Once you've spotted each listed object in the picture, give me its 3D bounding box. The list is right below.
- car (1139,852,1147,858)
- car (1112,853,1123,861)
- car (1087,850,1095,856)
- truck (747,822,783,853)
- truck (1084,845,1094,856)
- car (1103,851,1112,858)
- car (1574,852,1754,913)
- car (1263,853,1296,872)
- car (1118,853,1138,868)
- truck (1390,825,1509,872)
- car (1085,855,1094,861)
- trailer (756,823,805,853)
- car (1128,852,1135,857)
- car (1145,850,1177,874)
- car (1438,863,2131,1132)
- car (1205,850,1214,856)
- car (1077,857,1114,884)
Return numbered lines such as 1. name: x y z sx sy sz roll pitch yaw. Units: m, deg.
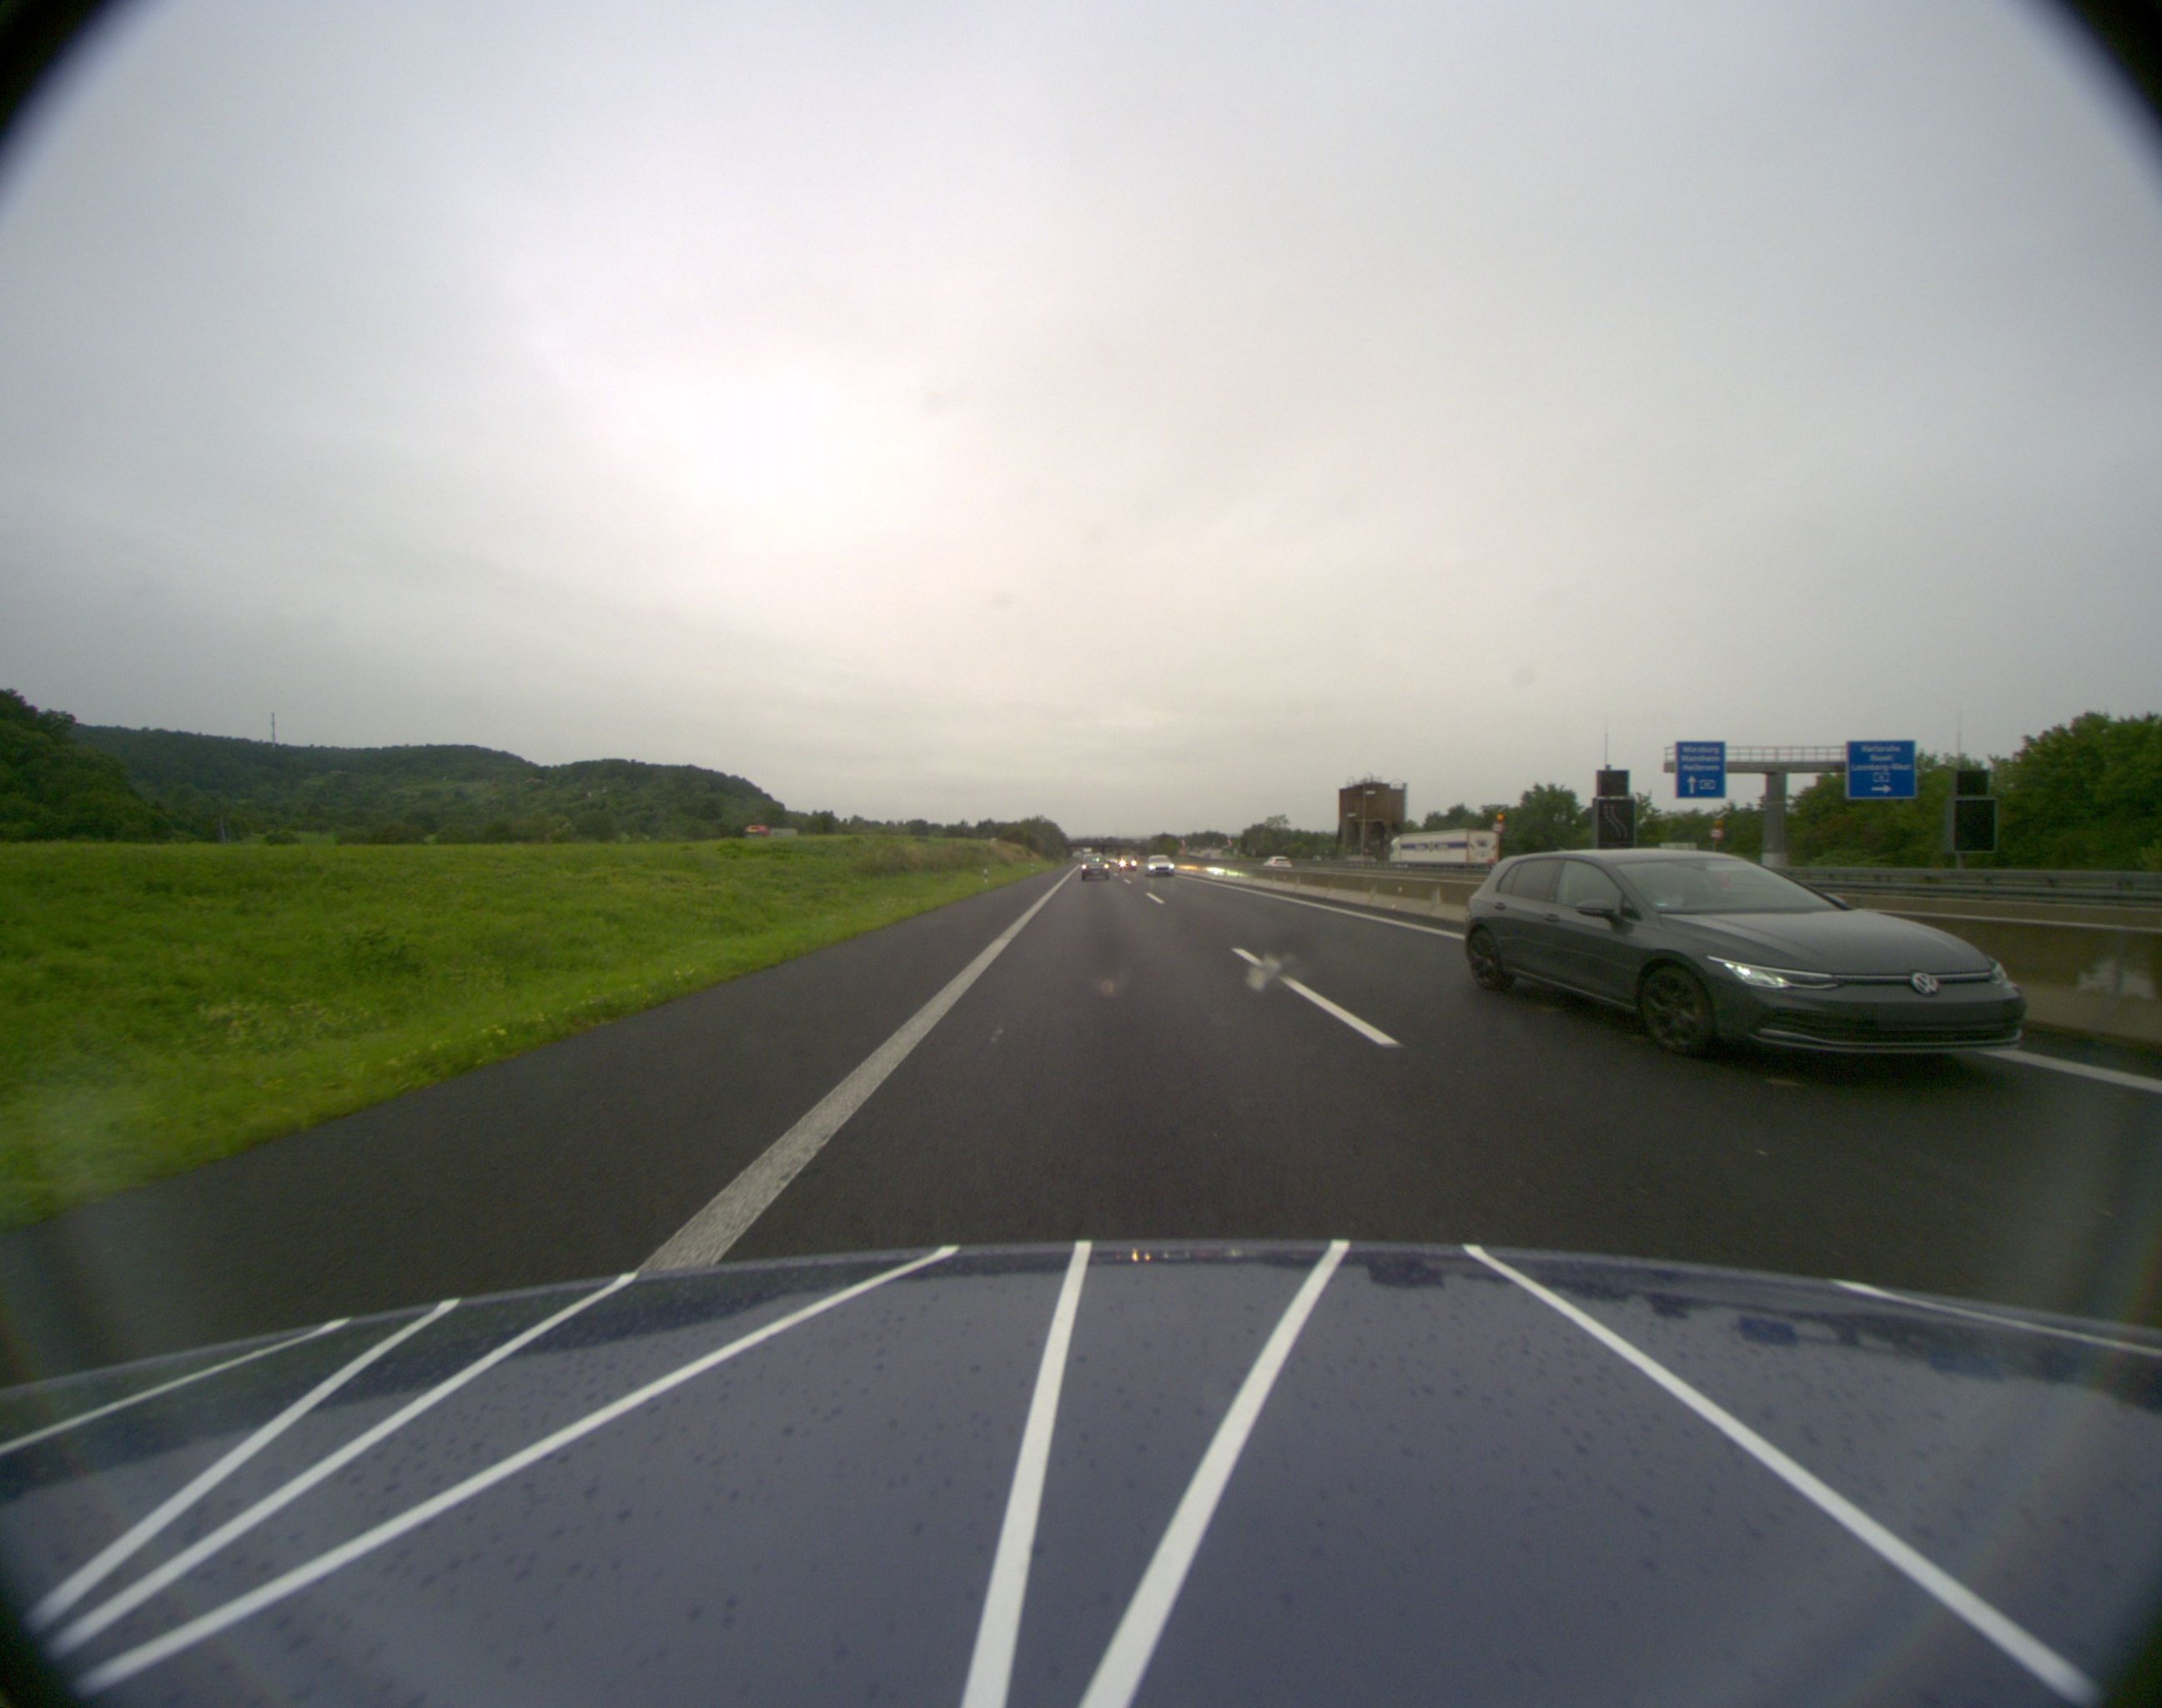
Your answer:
1. car: 15.336 0.317 187.921 1.860 1.383 4.445 -1 0 2
2. car: 7.096 0.617 146.739 1.941 1.341 4.001 -4 0 2
3. car: 2.333 -0.196 177.499 1.942 1.341 4.000 -3 0 1
4. truck: -42.630 -2.152 102.671 2.515 3.964 5.925 -2 1 -4
5. truck: 2.443 -1.071 229.444 2.728 3.098 7.960 -3 0 1
6. car: 6.370 0.130 183.837 1.998 1.565 4.000 -2 0 1
7. car: 16.899 0.744 22.378 1.728 1.543 4.582 -2 0 0
8. car: 17.981 0.762 68.910 1.998 1.652 4.314 -1 0 3
9. car: 4.844 0.617 78.365 1.835 1.417 4.368 -3 0 2
10. truck: 33.748 -0.529 71.021 3.185 3.786 17.134 -1 0 1
11. car: 1.823 0.926 171.329 1.942 1.341 4.000 -3 0 1
12. trailer: -42.953 -2.169 109.241 2.497 3.961 12.401 -2 0 -3
13. car: 15.096 0.167 228.707 1.802 1.499 4.000 0 0 0
14. car: 5.647 0.548 54.228 1.998 1.582 4.817 -2 0 3
15. car: 4.963 0.834 6.436 1.835 1.417 4.368 -2 0 1
16. car: 39.297 -0.370 232.814 1.998 1.751 4.505 -1 0 1
17. car: 0.977 1.010 49.102 2.242 1.565 4.817 -2 0 2
